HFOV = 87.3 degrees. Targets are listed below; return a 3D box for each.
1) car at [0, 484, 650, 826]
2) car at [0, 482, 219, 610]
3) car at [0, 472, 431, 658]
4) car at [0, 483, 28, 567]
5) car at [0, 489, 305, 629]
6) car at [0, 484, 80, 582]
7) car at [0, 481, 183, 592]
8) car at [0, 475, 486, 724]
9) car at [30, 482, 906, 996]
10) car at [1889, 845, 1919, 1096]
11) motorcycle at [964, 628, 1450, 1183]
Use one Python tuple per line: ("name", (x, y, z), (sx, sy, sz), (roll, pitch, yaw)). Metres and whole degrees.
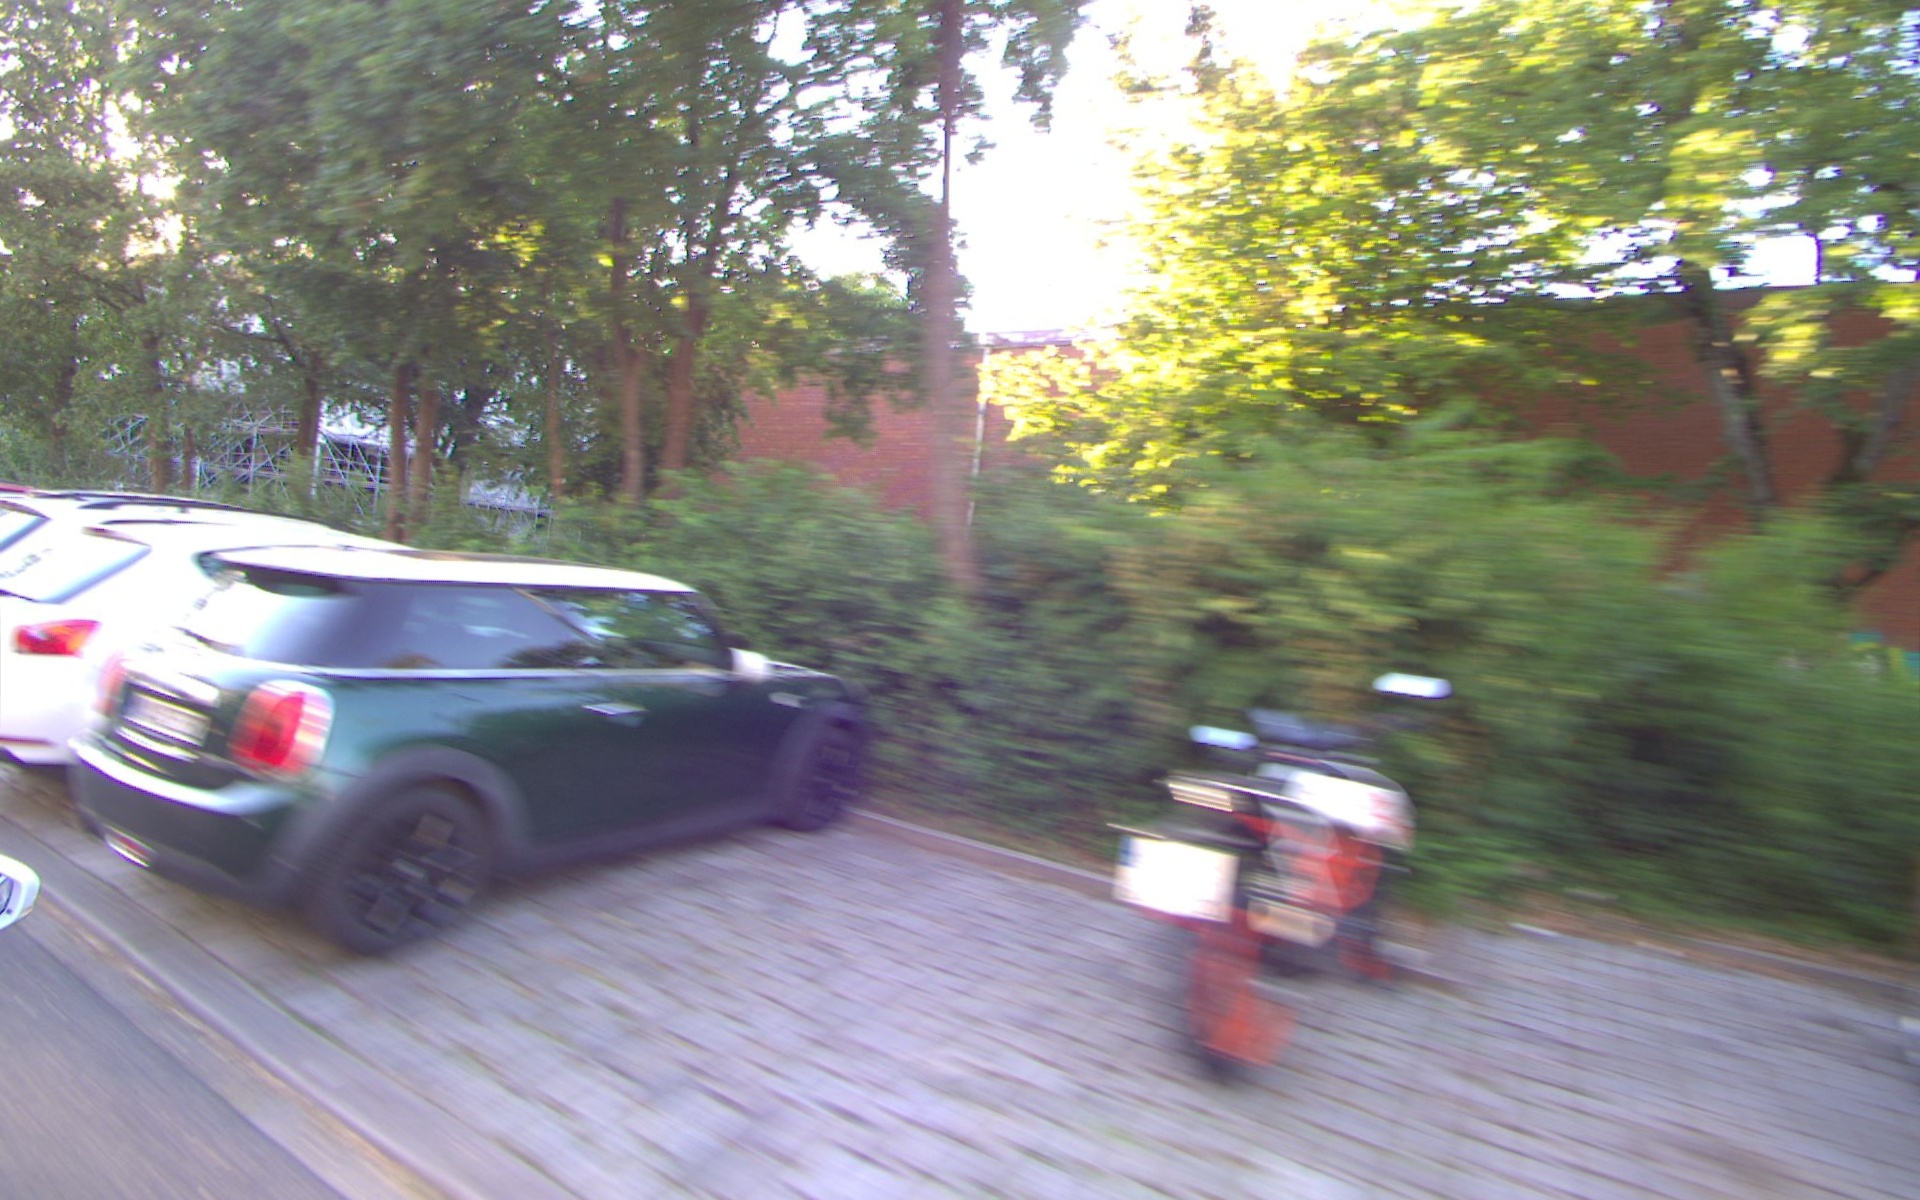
("car", (-3.970, 0.195, 6.216), (1.706, 1.464, 3.666), (7, 3, 31))
("car", (-11.966, -0.715, 12.708), (1.728, 1.494, 3.806), (5, 2, 33))
("car", (-7.674, -0.314, 10.136), (1.791, 1.519, 3.723), (5, 2, 33))
("car", (-18.818, -1.480, 17.189), (1.802, 1.473, 3.922), (6, 2, 34))
("car", (-9.912, -0.462, 11.432), (1.728, 1.414, 3.747), (5, 2, 33))
("car", (-16.497, -1.184, 15.467), (1.802, 1.494, 4.118), (6, 2, 34))
("car", (-14.033, -0.980, 14.726), (1.802, 1.494, 3.806), (5, 2, 33))
("car", (-6.021, -0.055, 8.035), (1.706, 1.574, 3.666), (7, 3, 31))
("car", (-2.007, 0.417, 5.075), (1.643, 1.546, 3.610), (7, 3, 31))
("car", (3.627, 1.084, 2.126), (1.644, 1.545, 3.387), (7, 2, 31))
("motorcycle", (1.010, 0.826, 3.565), (0.766, 1.321, 2.090), (7, 2, 38))
